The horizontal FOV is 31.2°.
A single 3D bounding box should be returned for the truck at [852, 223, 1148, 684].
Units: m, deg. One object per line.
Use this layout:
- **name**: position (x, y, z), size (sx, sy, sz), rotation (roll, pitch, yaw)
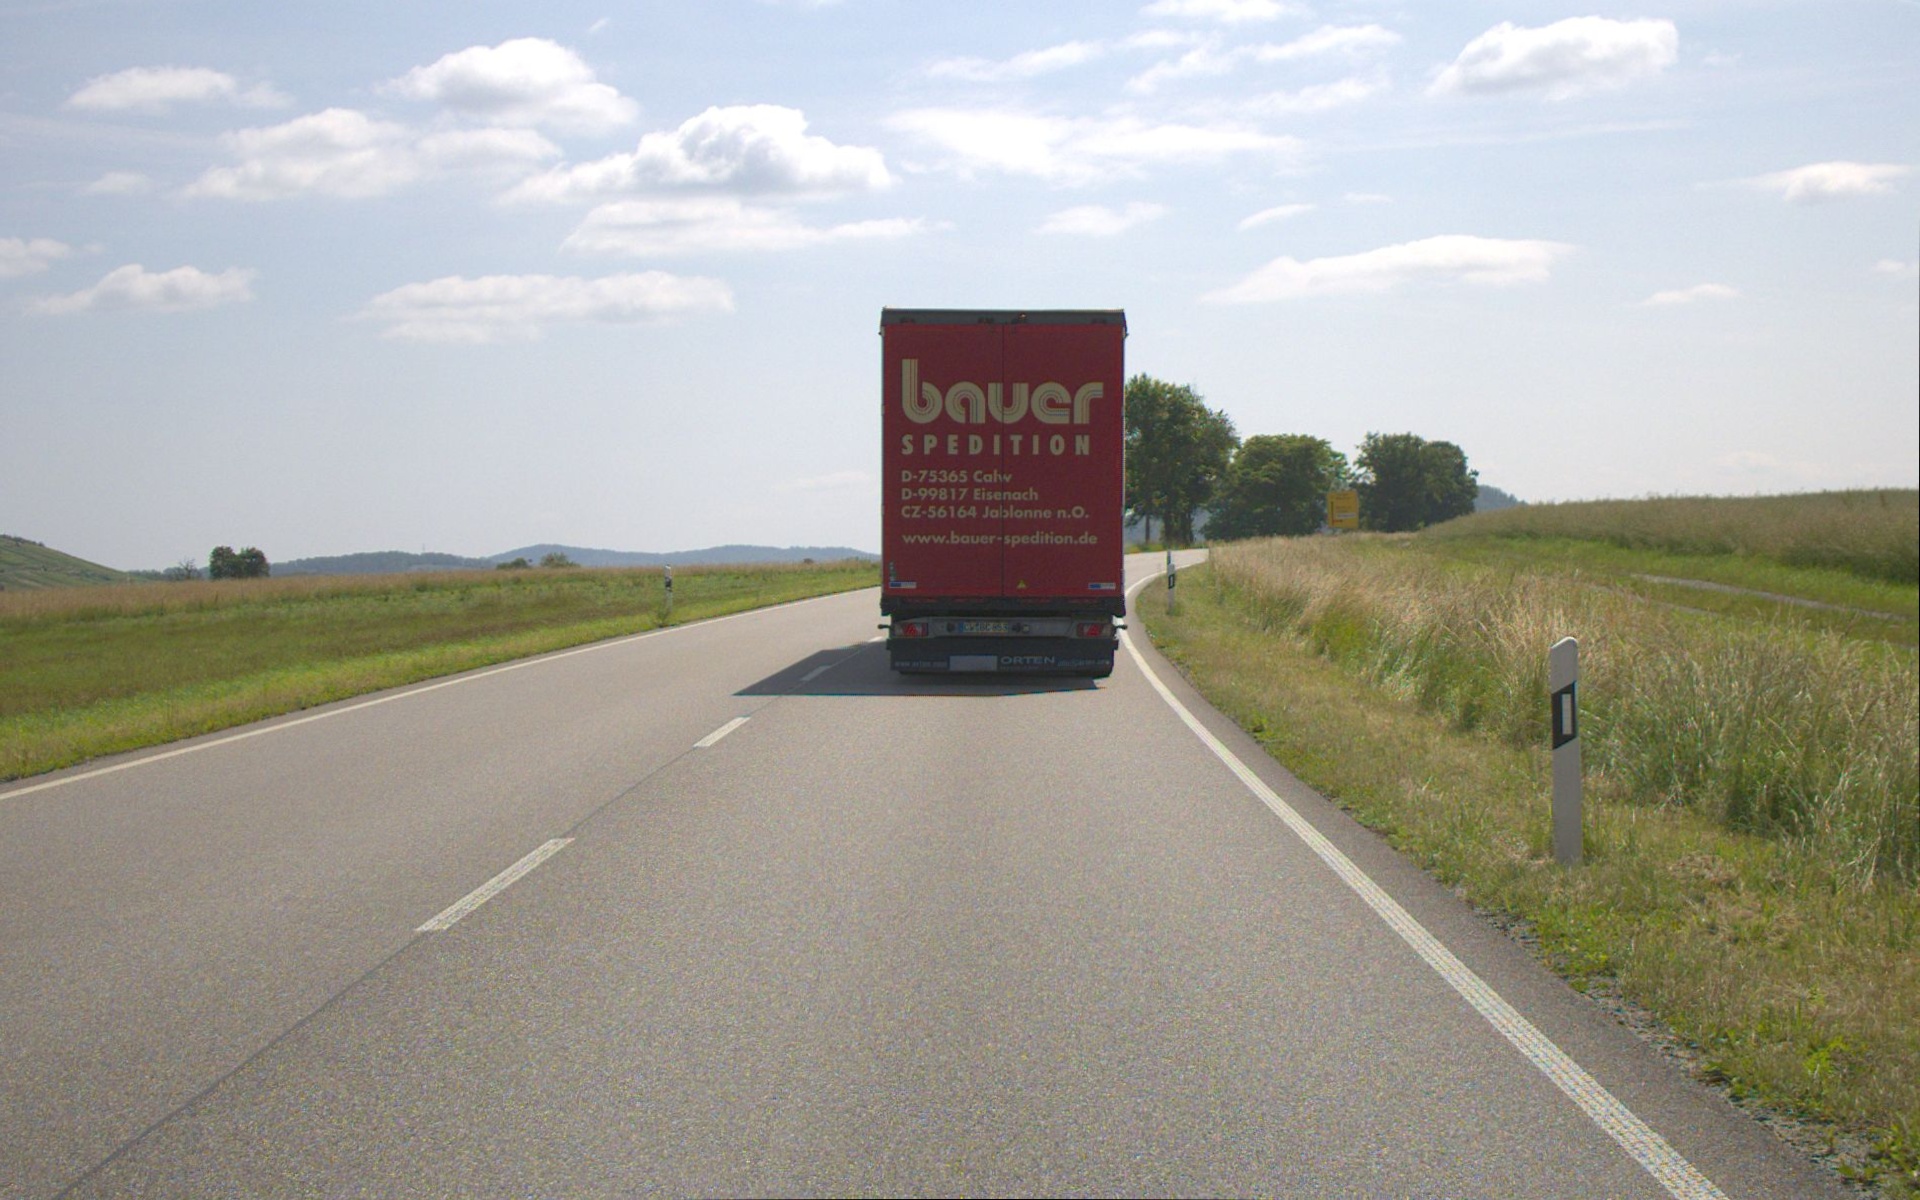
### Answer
- **truck**: position (0.588, -1.594, 39.969), size (2.975, 4.697, 9.366), rotation (1, 1, 2)
